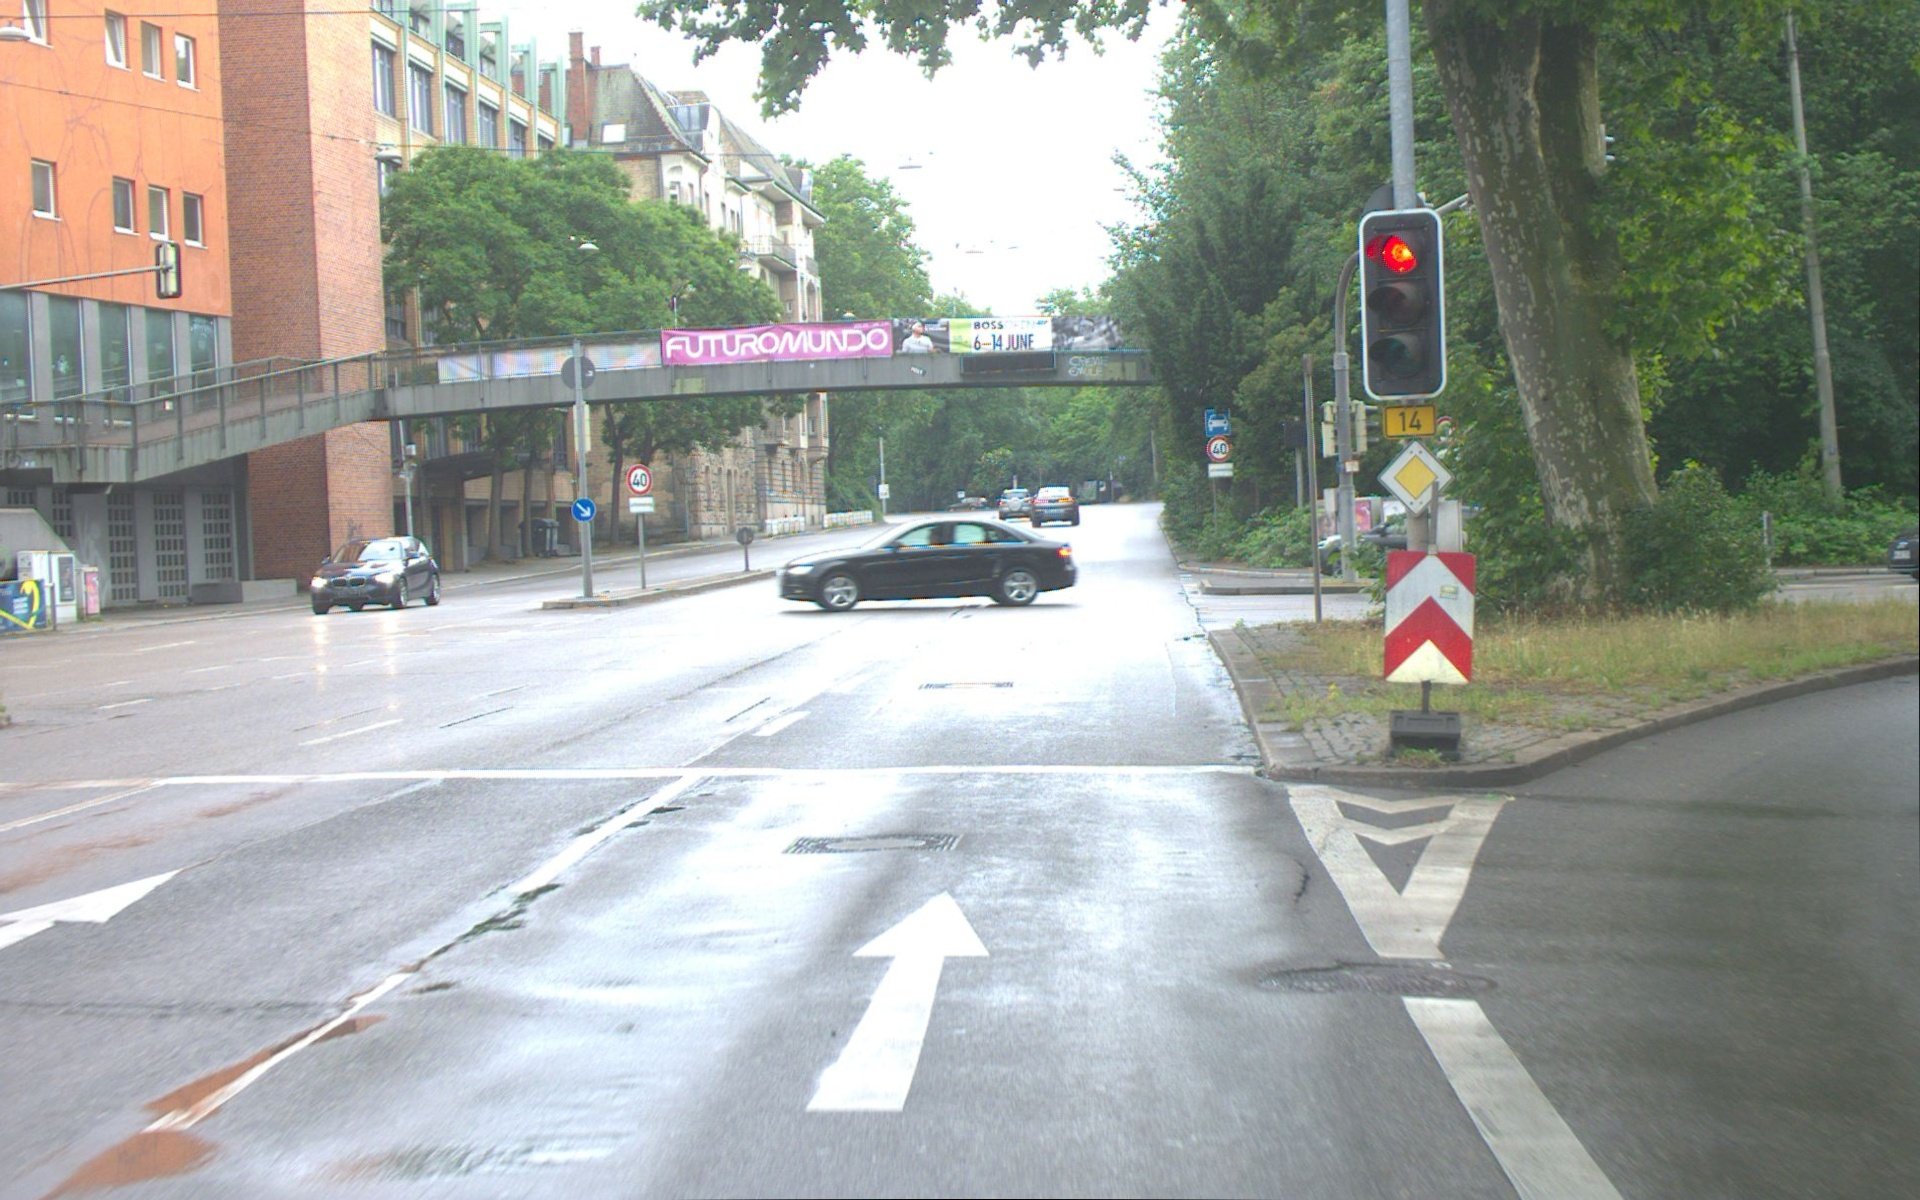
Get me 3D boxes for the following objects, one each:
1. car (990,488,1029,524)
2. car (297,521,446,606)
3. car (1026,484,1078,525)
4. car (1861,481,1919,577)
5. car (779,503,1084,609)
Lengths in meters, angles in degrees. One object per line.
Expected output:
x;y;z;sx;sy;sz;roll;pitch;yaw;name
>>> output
2.488;-4.704;171.845;1.763;1.691;3.705;-4;1;2;car
-11.358;-0.729;66.586;1.994;1.514;4.000;-2;1;2;car
4.001;-4.172;150.031;2.120;1.729;4.199;0;2;0;car
16.556;-1.162;54.473;3.986;1.481;1.879;-2;1;-17;car
-0.482;-0.695;53.906;4.602;1.446;1.774;-2;1;-5;car
